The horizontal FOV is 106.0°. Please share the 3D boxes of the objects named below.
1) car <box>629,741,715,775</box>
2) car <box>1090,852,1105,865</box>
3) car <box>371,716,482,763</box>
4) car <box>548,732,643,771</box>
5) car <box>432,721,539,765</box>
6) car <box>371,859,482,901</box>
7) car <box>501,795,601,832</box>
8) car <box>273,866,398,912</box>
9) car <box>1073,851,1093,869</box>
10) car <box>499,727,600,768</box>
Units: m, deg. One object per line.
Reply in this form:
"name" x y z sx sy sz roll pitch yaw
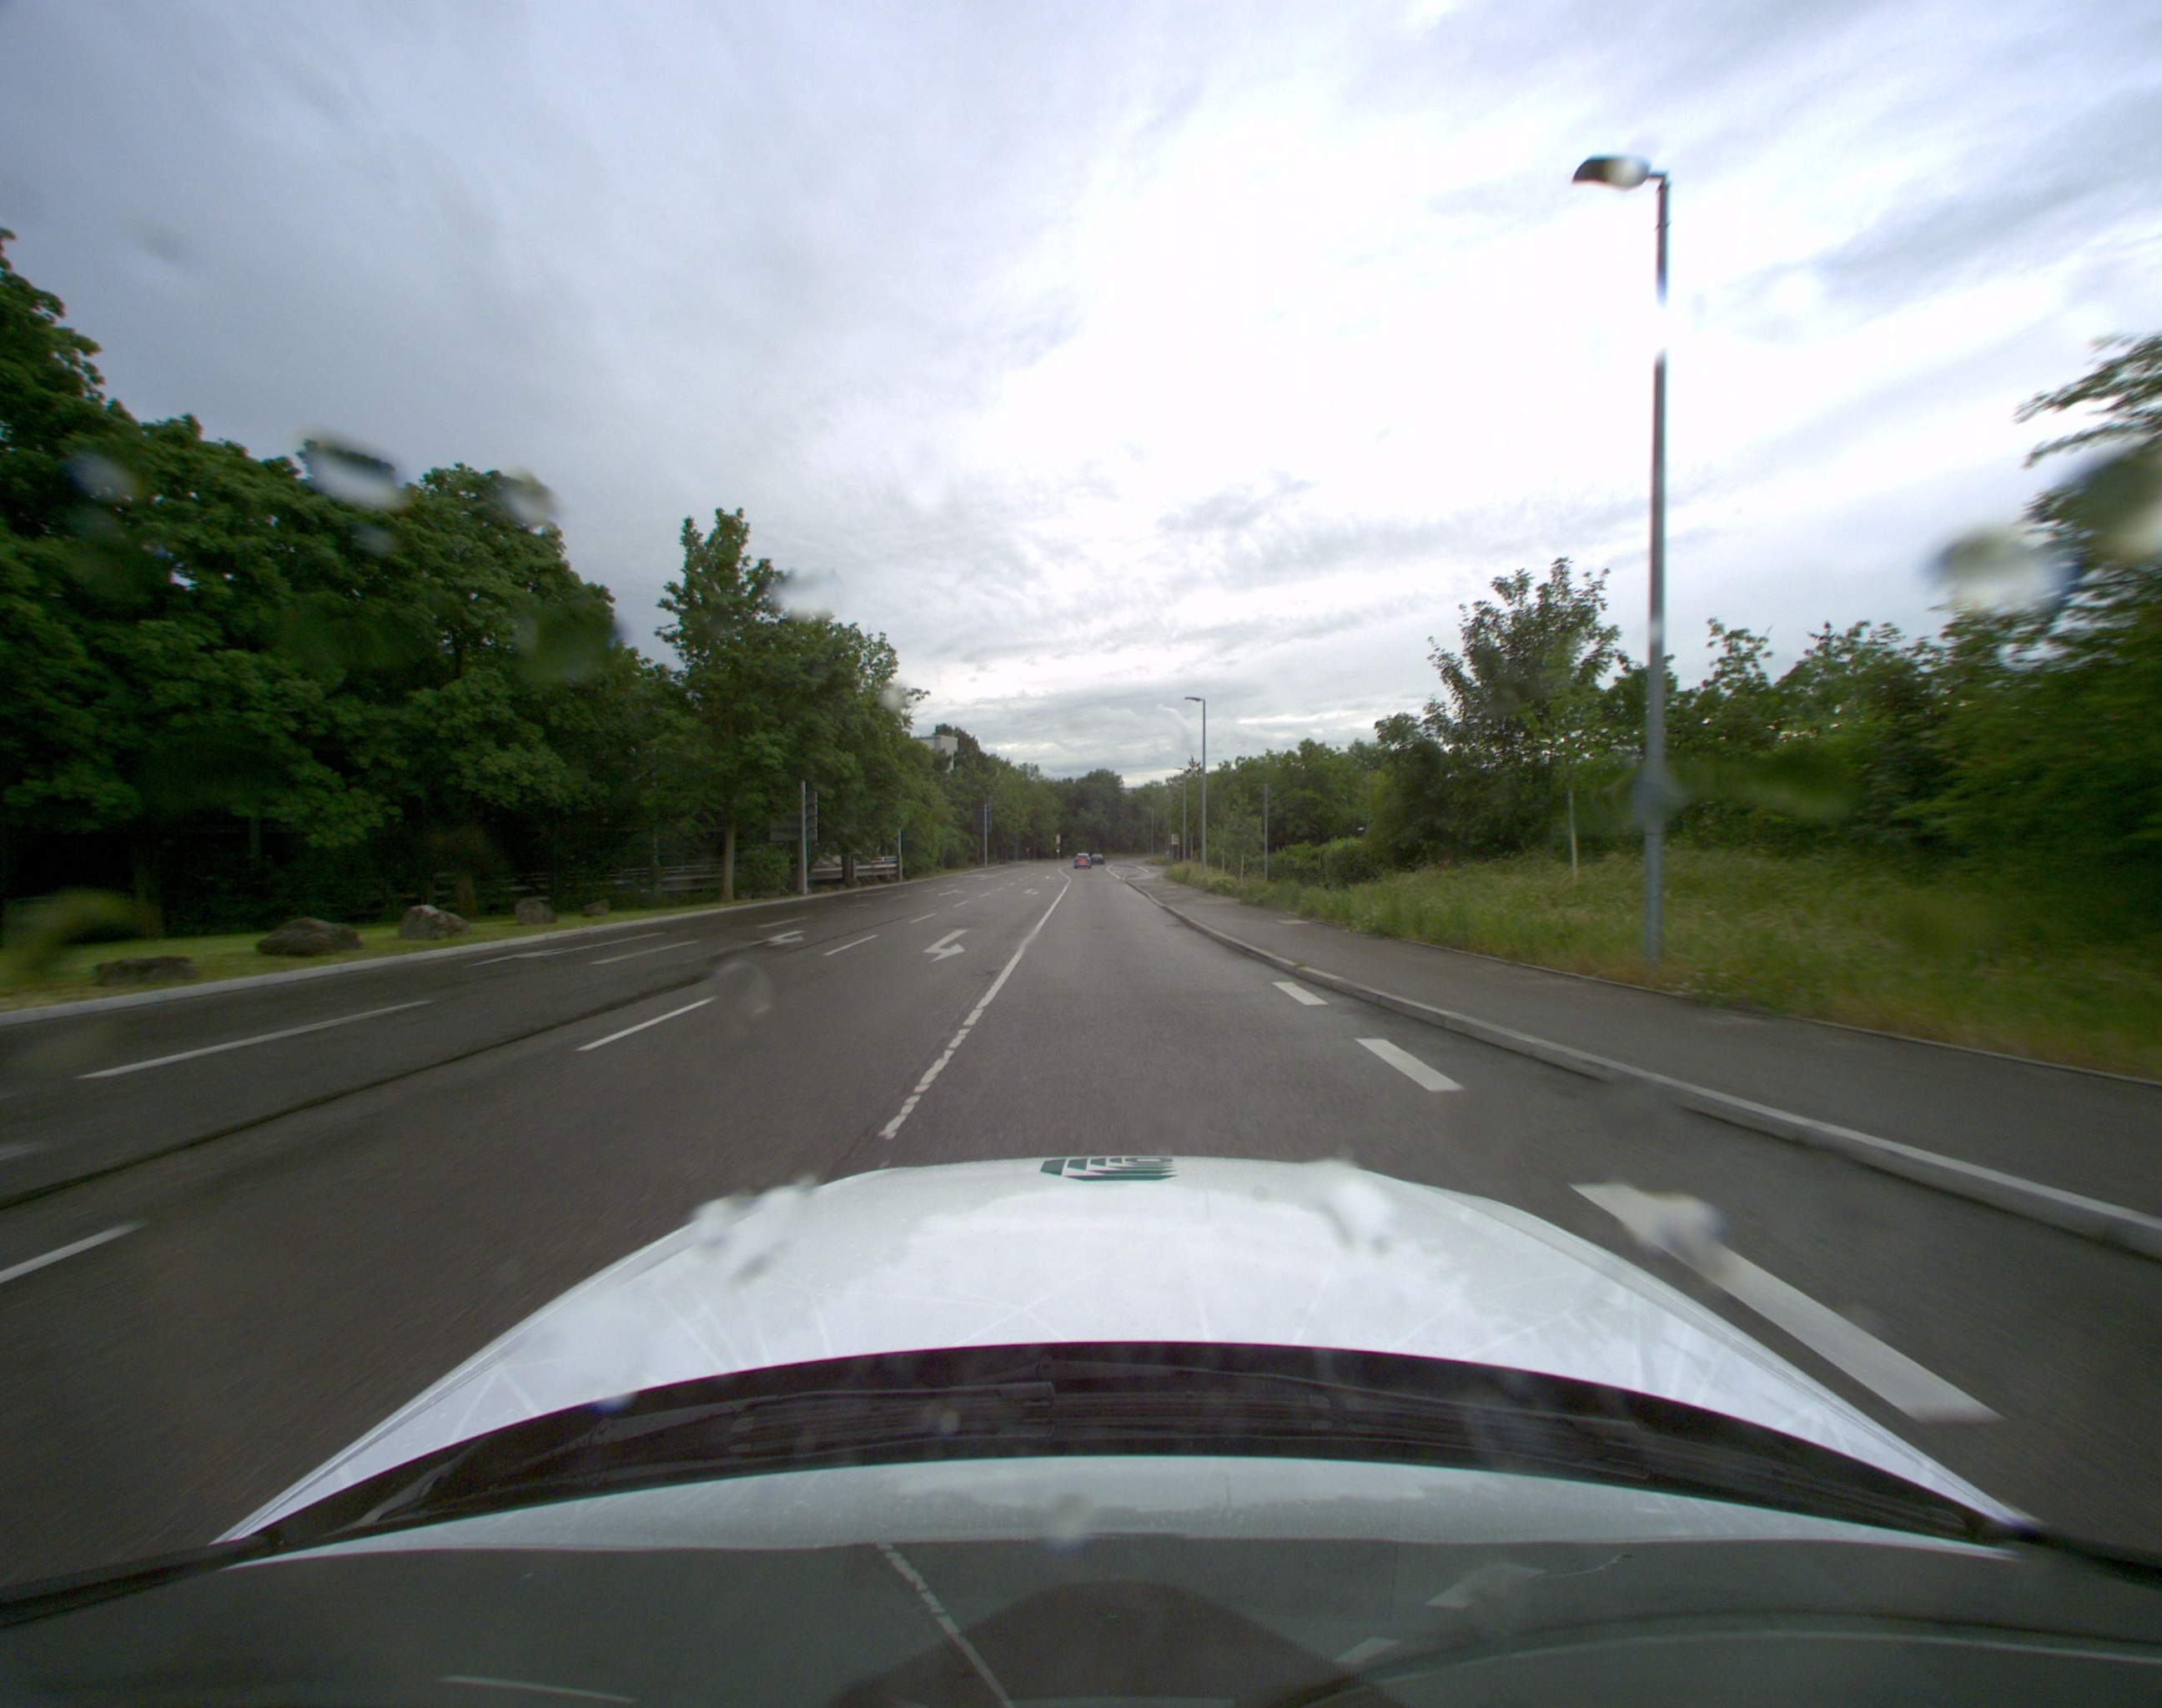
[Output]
"car" -20.916 -4.860 41.656 3.950 1.518 2.012 2 2 28
"car" 2.175 0.510 105.867 1.920 1.486 3.802 -1 2 2
"car" -25.618 -4.418 31.864 3.950 1.518 2.012 2 2 28
"car" -22.530 -4.702 37.773 3.950 1.518 2.012 2 2 28
"car" -24.508 -4.511 33.516 3.950 1.518 2.012 2 2 28
"car" -25.810 1.015 32.116 3.949 1.519 2.012 -2 0 28
"car" -23.252 -1.792 35.732 3.950 1.518 2.012 2 2 28
"car" -26.920 1.255 29.405 3.950 1.519 2.012 -2 0 27
"car" 0.262 0.609 85.857 1.986 1.689 4.002 -1 2 1
"car" -23.209 -4.612 35.555 3.950 1.518 2.012 2 2 28
